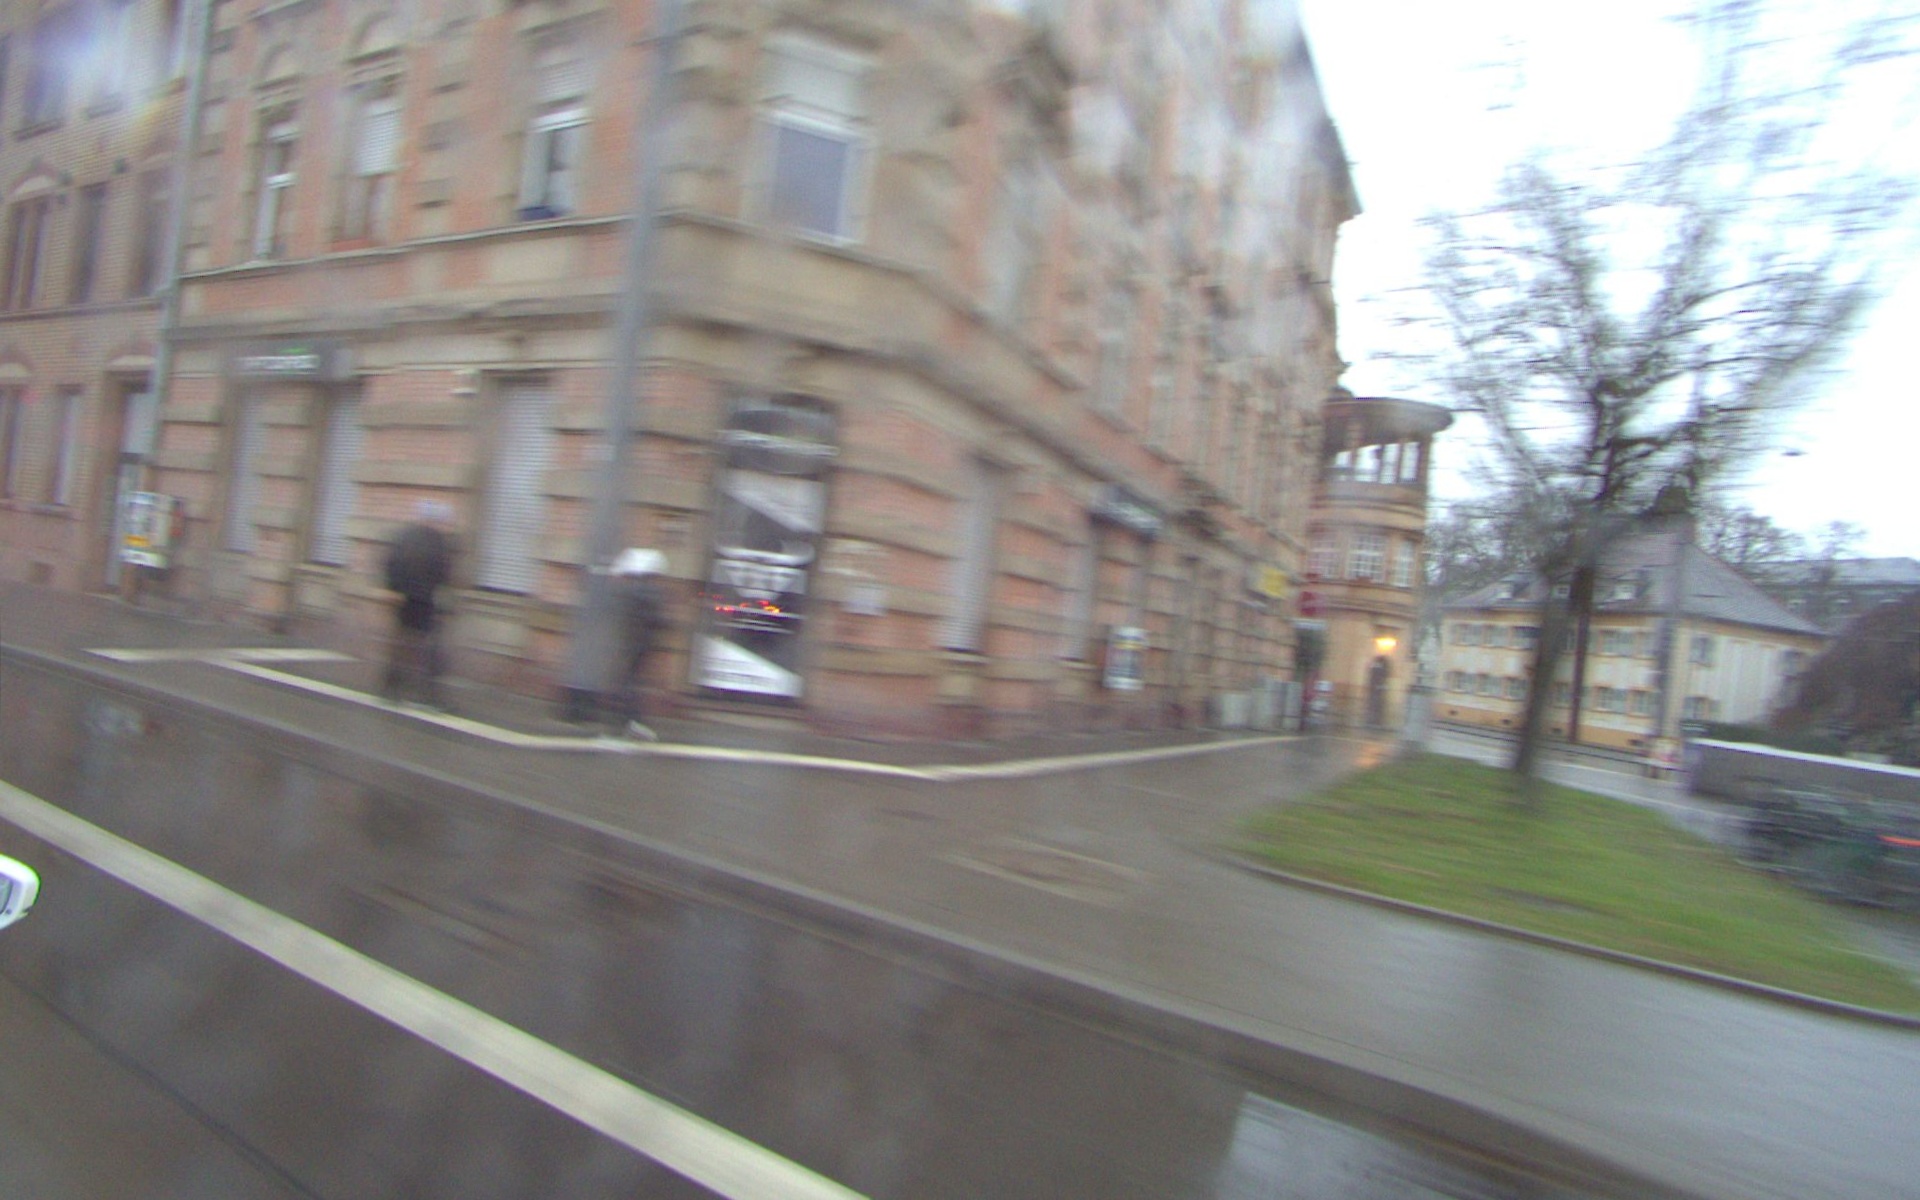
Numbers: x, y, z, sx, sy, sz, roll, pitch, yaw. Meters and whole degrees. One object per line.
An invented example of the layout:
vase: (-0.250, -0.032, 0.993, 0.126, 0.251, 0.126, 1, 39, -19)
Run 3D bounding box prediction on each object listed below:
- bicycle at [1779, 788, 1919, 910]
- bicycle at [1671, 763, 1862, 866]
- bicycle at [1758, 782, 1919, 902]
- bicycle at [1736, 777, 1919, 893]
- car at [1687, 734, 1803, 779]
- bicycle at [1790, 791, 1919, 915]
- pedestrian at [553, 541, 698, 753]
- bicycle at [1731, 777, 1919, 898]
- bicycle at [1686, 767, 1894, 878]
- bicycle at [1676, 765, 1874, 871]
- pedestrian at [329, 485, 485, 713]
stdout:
bicycle: (9.472, 2.552, 10.009, 1.912, 0.964, 0.455, 7, -1, 32)
bicycle: (11.004, 2.910, 13.807, 1.912, 0.964, 0.455, 7, -1, 32)
bicycle: (9.807, 2.624, 10.720, 1.912, 0.964, 0.455, 7, -1, 32)
bicycle: (10.280, 2.728, 11.661, 1.912, 0.964, 0.455, 7, -1, 32)
car: (35.796, 7.103, 45.977, 1.810, 1.317, 3.771, 7, -1, -14)
bicycle: (9.202, 2.496, 9.547, 1.912, 0.964, 0.455, 7, -1, 32)
pedestrian: (-2.663, 0.373, 8.031, 0.699, 1.566, 0.633, 7, -1, 32)
bicycle: (9.909, 2.660, 11.254, 1.912, 0.964, 0.455, 7, -1, 32)
bicycle: (10.532, 2.809, 12.857, 1.912, 0.964, 0.455, 7, -1, 32)
bicycle: (10.732, 2.856, 13.332, 1.912, 0.964, 0.455, 7, -1, 32)
pedestrian: (-4.778, 0.006, 8.715, 0.699, 1.846, 0.752, 7, -1, 32)
